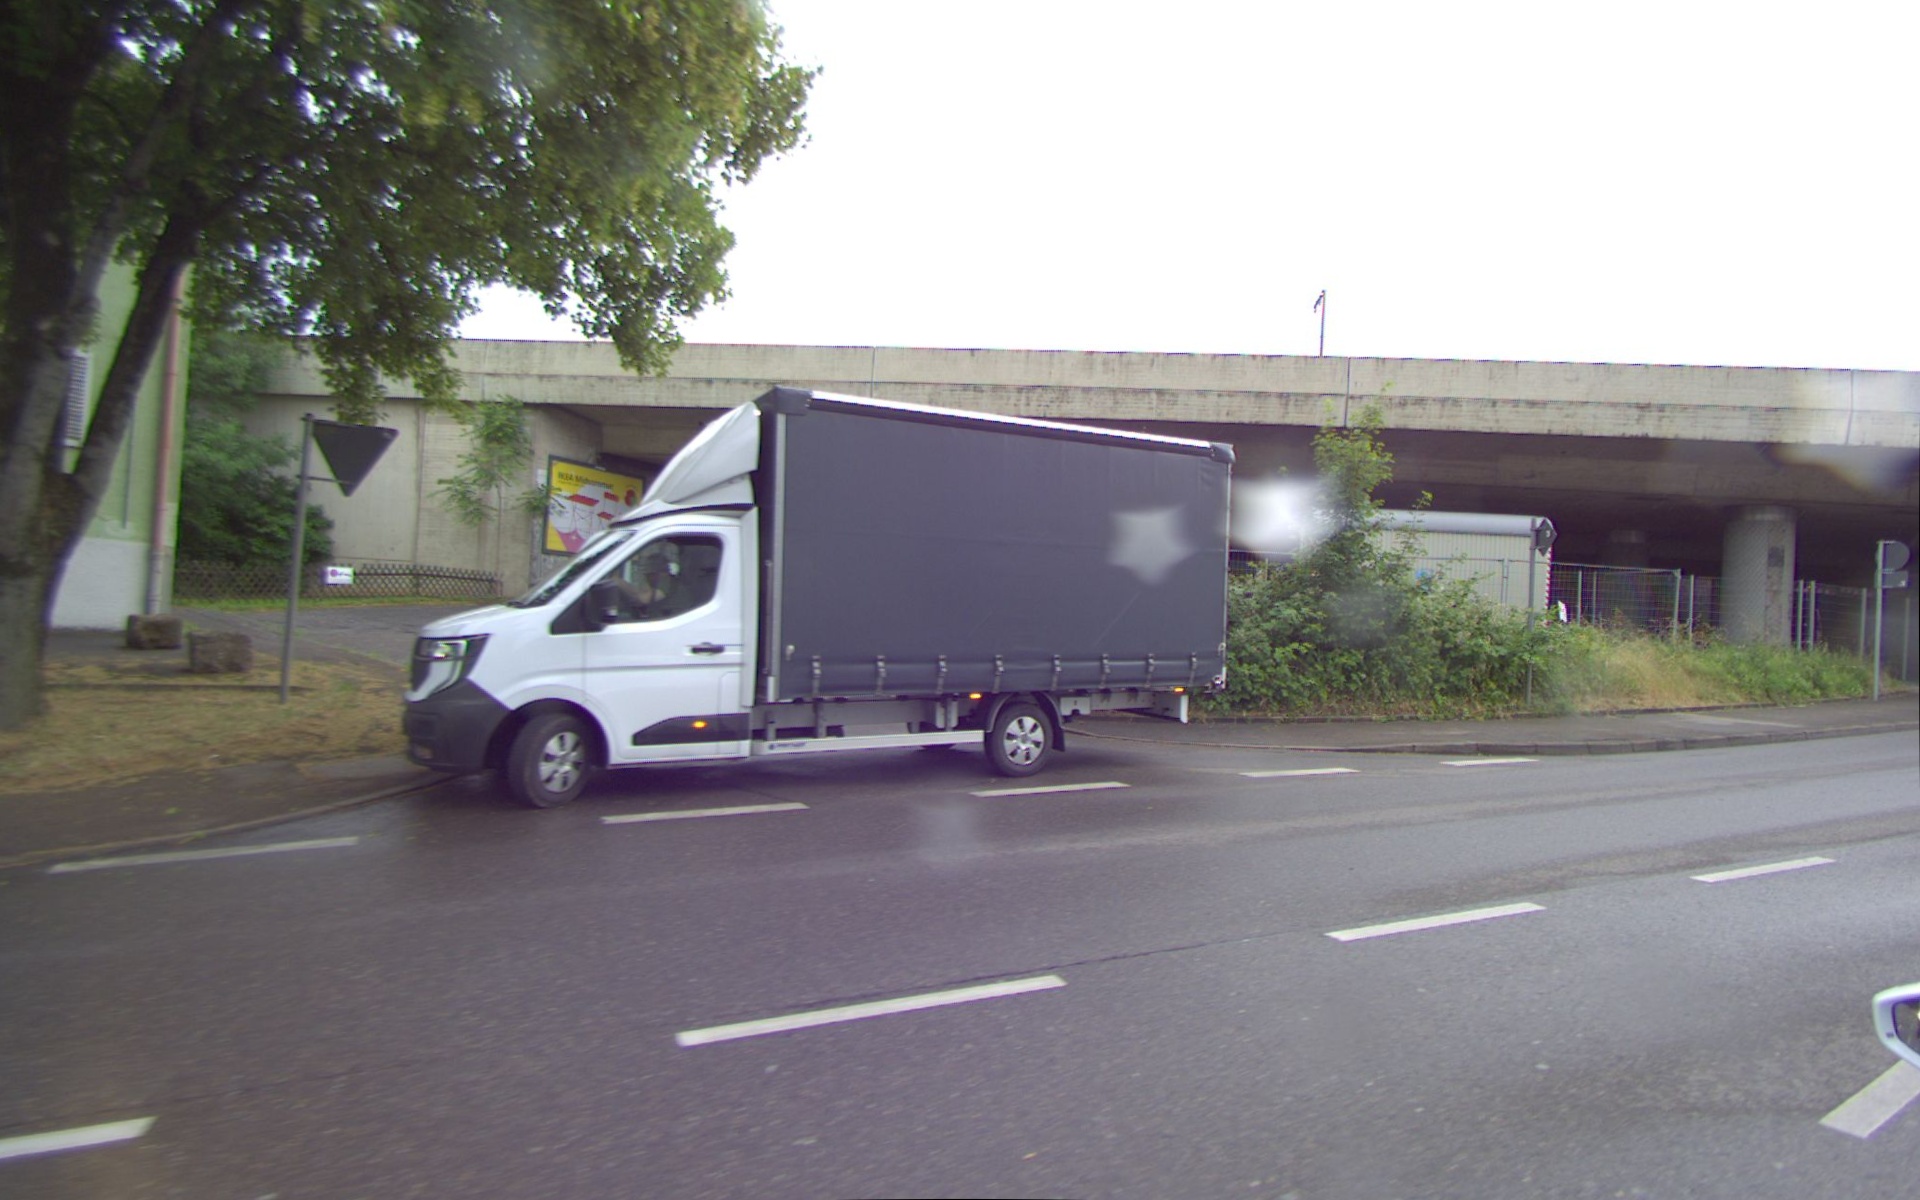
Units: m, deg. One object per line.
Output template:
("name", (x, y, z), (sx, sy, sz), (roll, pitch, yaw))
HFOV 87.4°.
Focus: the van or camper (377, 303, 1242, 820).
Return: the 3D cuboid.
("van or camper", (-1.092, -0.153, 9.664), (7.669, 3.379, 2.686), (2, 0, -30))
